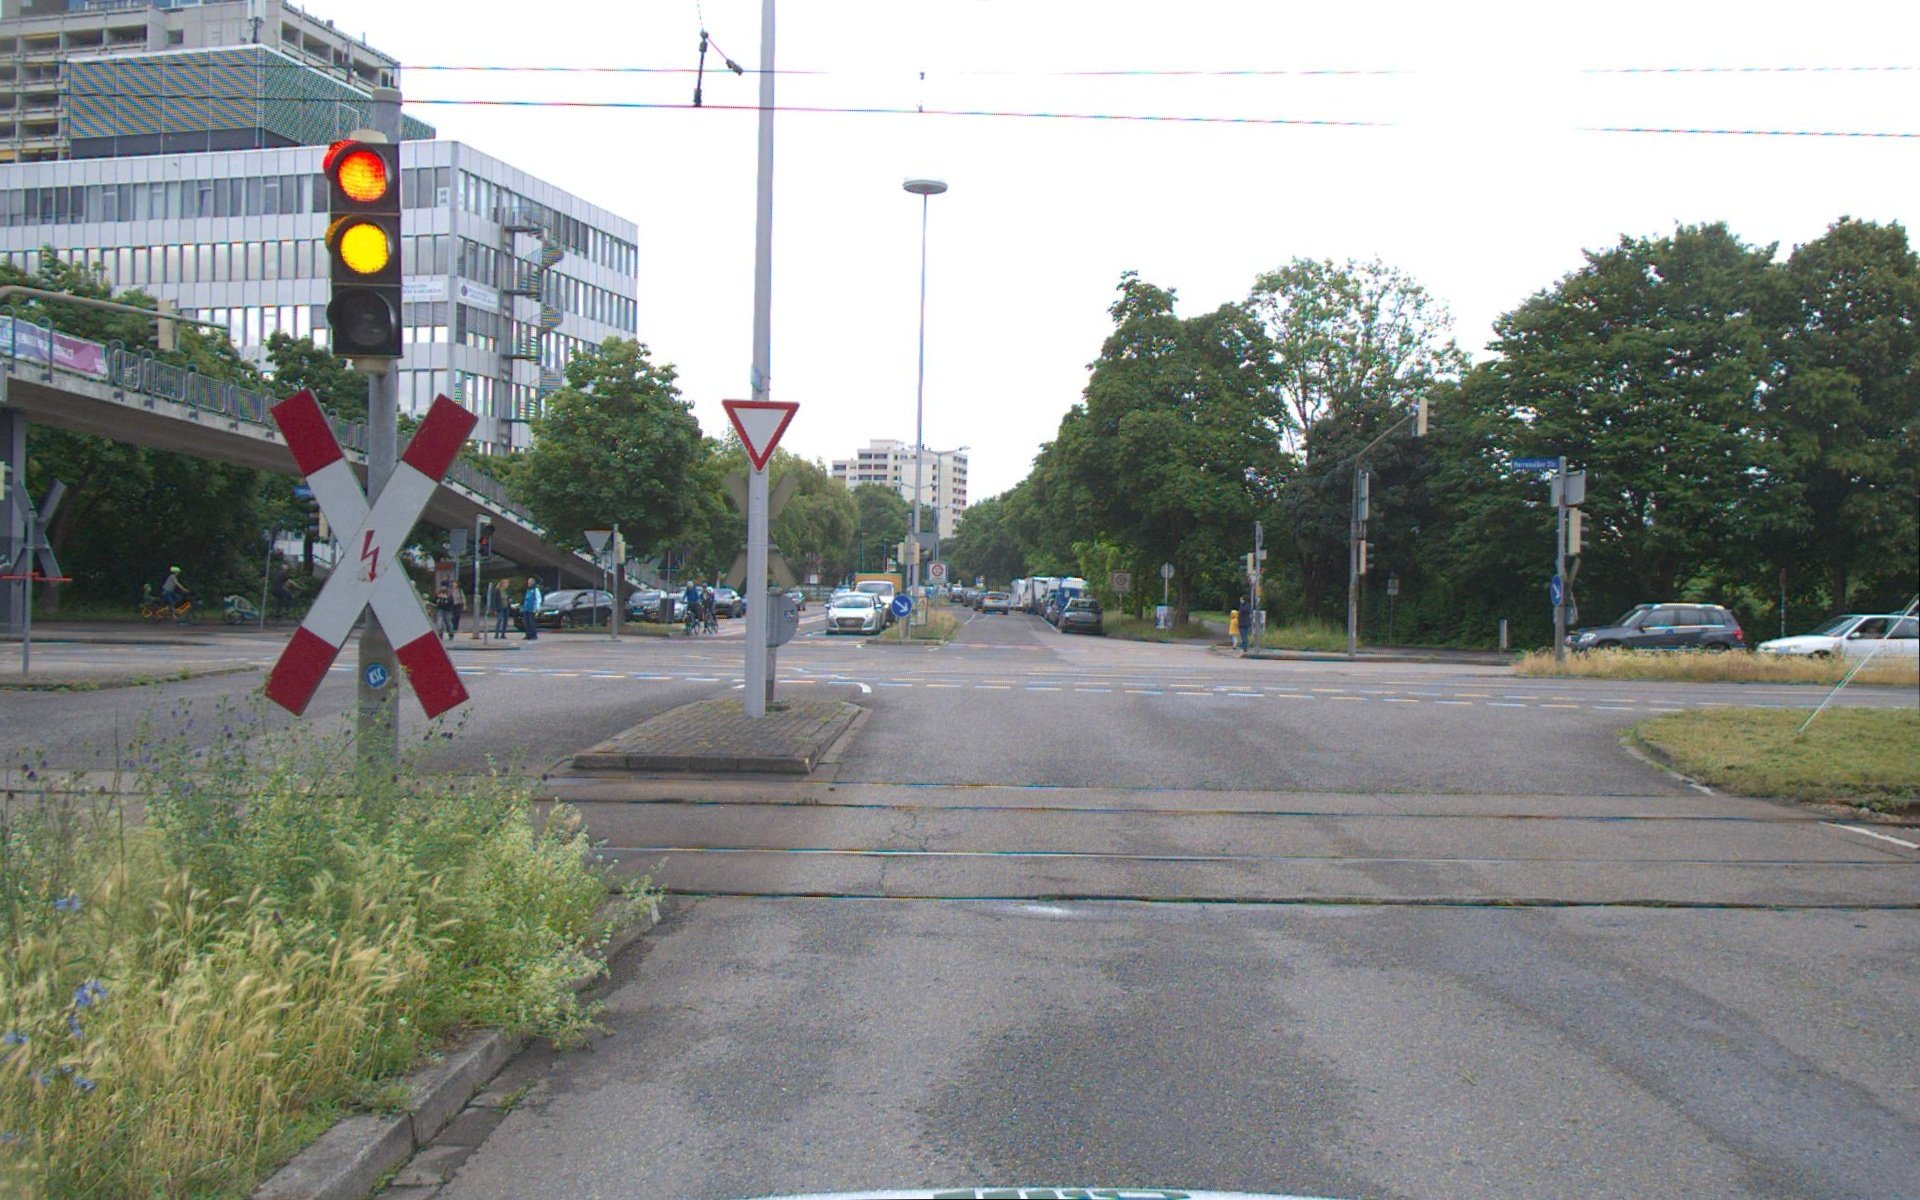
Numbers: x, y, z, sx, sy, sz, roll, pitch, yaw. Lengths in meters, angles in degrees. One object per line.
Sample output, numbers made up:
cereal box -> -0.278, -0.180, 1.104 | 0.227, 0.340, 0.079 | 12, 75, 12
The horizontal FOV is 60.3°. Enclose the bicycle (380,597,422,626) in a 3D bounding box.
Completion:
bicycle -> -19.331, 0.397, 57.207 | 0.618, 0.941, 2.523 | 1, 1, -1

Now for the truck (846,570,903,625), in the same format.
truck -> -3.661, -0.130, 71.959 | 2.111, 2.237, 5.840 | 1, 0, 0

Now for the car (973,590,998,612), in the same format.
car -> 2.072, 0.089, 135.385 | 1.953, 1.794, 3.999 | 1, 0, -1

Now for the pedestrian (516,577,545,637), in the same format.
pedestrian -> -11.830, 0.181, 45.587 | 0.673, 1.633, 0.487 | 1, 0, -5

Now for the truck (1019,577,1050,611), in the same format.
truck -> 5.953, -0.429, 132.229 | 1.954, 2.618, 5.375 | 1, 0, -3

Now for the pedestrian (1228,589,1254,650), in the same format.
pedestrian -> 8.382, 0.575, 49.319 | 0.643, 1.780, 0.459 | 1, 0, -1

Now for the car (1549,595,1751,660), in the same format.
car -> 17.496, 0.681, 42.085 | 4.373, 1.530, 1.846 | 1, 0, 0

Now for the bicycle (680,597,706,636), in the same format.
bicycle -> -9.004, 0.543, 55.894 | 0.532, 1.289, 2.110 | 1, 0, -1

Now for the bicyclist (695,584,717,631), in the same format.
bicyclist -> -8.935, 0.264, 58.252 | 0.665, 1.622, 0.695 | 1, -1, -1

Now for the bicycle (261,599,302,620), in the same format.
bicycle -> -22.717, 0.324, 55.393 | 0.285, 0.704, 1.292 | 2, 1, 37

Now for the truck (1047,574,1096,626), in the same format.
truck -> 6.078, 0.004, 90.809 | 2.130, 2.703, 6.245 | 0, 0, -1

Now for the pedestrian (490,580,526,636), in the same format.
pedestrian -> -12.460, 0.220, 45.591 | 0.901, 1.537, 0.403 | 1, 0, -12

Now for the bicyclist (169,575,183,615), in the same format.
bicyclist -> -25.157, -0.163, 53.061 | 0.400, 1.275, 0.275 | 1, 0, -25

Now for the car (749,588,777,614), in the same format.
car -> -12.859, 0.053, 107.914 | 1.415, 1.579, 3.663 | 1, 0, -1

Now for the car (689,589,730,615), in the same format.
car -> -14.149, 0.117, 93.462 | 1.727, 1.419, 3.999 | 1, 0, -1

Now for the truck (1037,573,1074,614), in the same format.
truck -> 6.912, -0.471, 120.171 | 1.954, 2.888, 5.726 | 1, 0, -4

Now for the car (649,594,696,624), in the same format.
car -> -14.373, 0.431, 82.911 | 1.637, 1.411, 3.895 | 1, 0, 0

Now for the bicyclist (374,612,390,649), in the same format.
bicyclist -> -19.244, 1.011, 55.082 | 0.396, 1.202, 0.377 | 1, 1, 1

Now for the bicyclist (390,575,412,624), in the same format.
bicyclist -> -19.315, -0.005, 57.145 | 0.553, 1.673, 0.531 | 1, -1, 0

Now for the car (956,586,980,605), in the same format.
car -> 0.645, -0.411, 142.899 | 1.979, 1.531, 3.999 | 1, 0, -1

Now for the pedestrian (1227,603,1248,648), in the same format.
pedestrian -> 8.383, 0.768, 50.036 | 0.516, 1.365, 0.525 | 1, 0, -1

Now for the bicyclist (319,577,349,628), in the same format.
bicyclist -> -20.591, 0.080, 54.371 | 0.518, 1.653, 0.745 | 1, 0, 42

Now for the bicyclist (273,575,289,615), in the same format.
bicyclist -> -22.730, -0.172, 55.354 | 0.273, 1.326, 0.382 | 1, 0, 37

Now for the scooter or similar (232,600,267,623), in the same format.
scooter or similar -> -23.385, 0.382, 54.447 | 0.398, 0.727, 0.993 | 1, 0, 38

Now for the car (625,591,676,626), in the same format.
car -> -14.456, 0.388, 77.414 | 1.637, 1.579, 3.892 | 1, 0, 0

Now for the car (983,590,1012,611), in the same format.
car -> 2.733, 0.027, 122.537 | 1.979, 1.531, 3.999 | 1, 0, -1

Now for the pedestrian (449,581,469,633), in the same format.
pedestrian -> -15.794, 0.223, 52.123 | 0.570, 1.607, 0.777 | 1, 0, -19

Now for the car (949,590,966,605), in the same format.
car -> -0.287, -0.281, 171.800 | 1.523, 1.531, 3.998 | 1, 0, -3

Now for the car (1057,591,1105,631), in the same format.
car -> 5.392, 0.469, 73.999 | 1.747, 1.691, 3.999 | 1, 0, -1

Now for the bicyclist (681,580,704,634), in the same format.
bicyclist -> -8.961, 0.222, 55.393 | 0.631, 1.799, 0.646 | 1, 0, -1

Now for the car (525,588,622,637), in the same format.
car -> -13.316, 0.410, 57.221 | 1.636, 1.579, 4.003 | 1, 0, 13

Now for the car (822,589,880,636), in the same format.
car -> -3.773, 0.402, 57.757 | 1.753, 1.545, 4.325 | 1, 0, -1

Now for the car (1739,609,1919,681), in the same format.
car -> 18.687, 0.938, 34.533 | 4.052, 1.381, 1.647 | 1, 0, 0

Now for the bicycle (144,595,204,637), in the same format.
bicycle -> -25.191, 0.505, 53.029 | 1.683, 1.327, 0.386 | 1, 0, -26

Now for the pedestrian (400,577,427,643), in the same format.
pedestrian -> -14.412, 0.250, 43.607 | 0.608, 1.721, 0.404 | 1, 0, -15

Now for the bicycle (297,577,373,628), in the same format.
bicycle -> -20.544, 0.080, 54.380 | 0.518, 1.653, 2.352 | 1, 0, 41

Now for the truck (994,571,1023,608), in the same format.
truck -> 4.178, -0.899, 142.996 | 1.954, 3.061, 5.767 | 1, 0, -4

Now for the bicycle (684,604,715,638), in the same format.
bicycle -> -9.040, 0.704, 57.463 | 0.712, 1.120, 2.264 | 1, 0, -1

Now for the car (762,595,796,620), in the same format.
car -> -10.562, 0.426, 96.723 | 1.481, 1.414, 3.533 | 1, 0, 2

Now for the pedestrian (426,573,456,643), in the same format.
pedestrian -> -13.883, 0.207, 44.257 | 0.625, 1.835, 0.800 | 1, 0, -10
